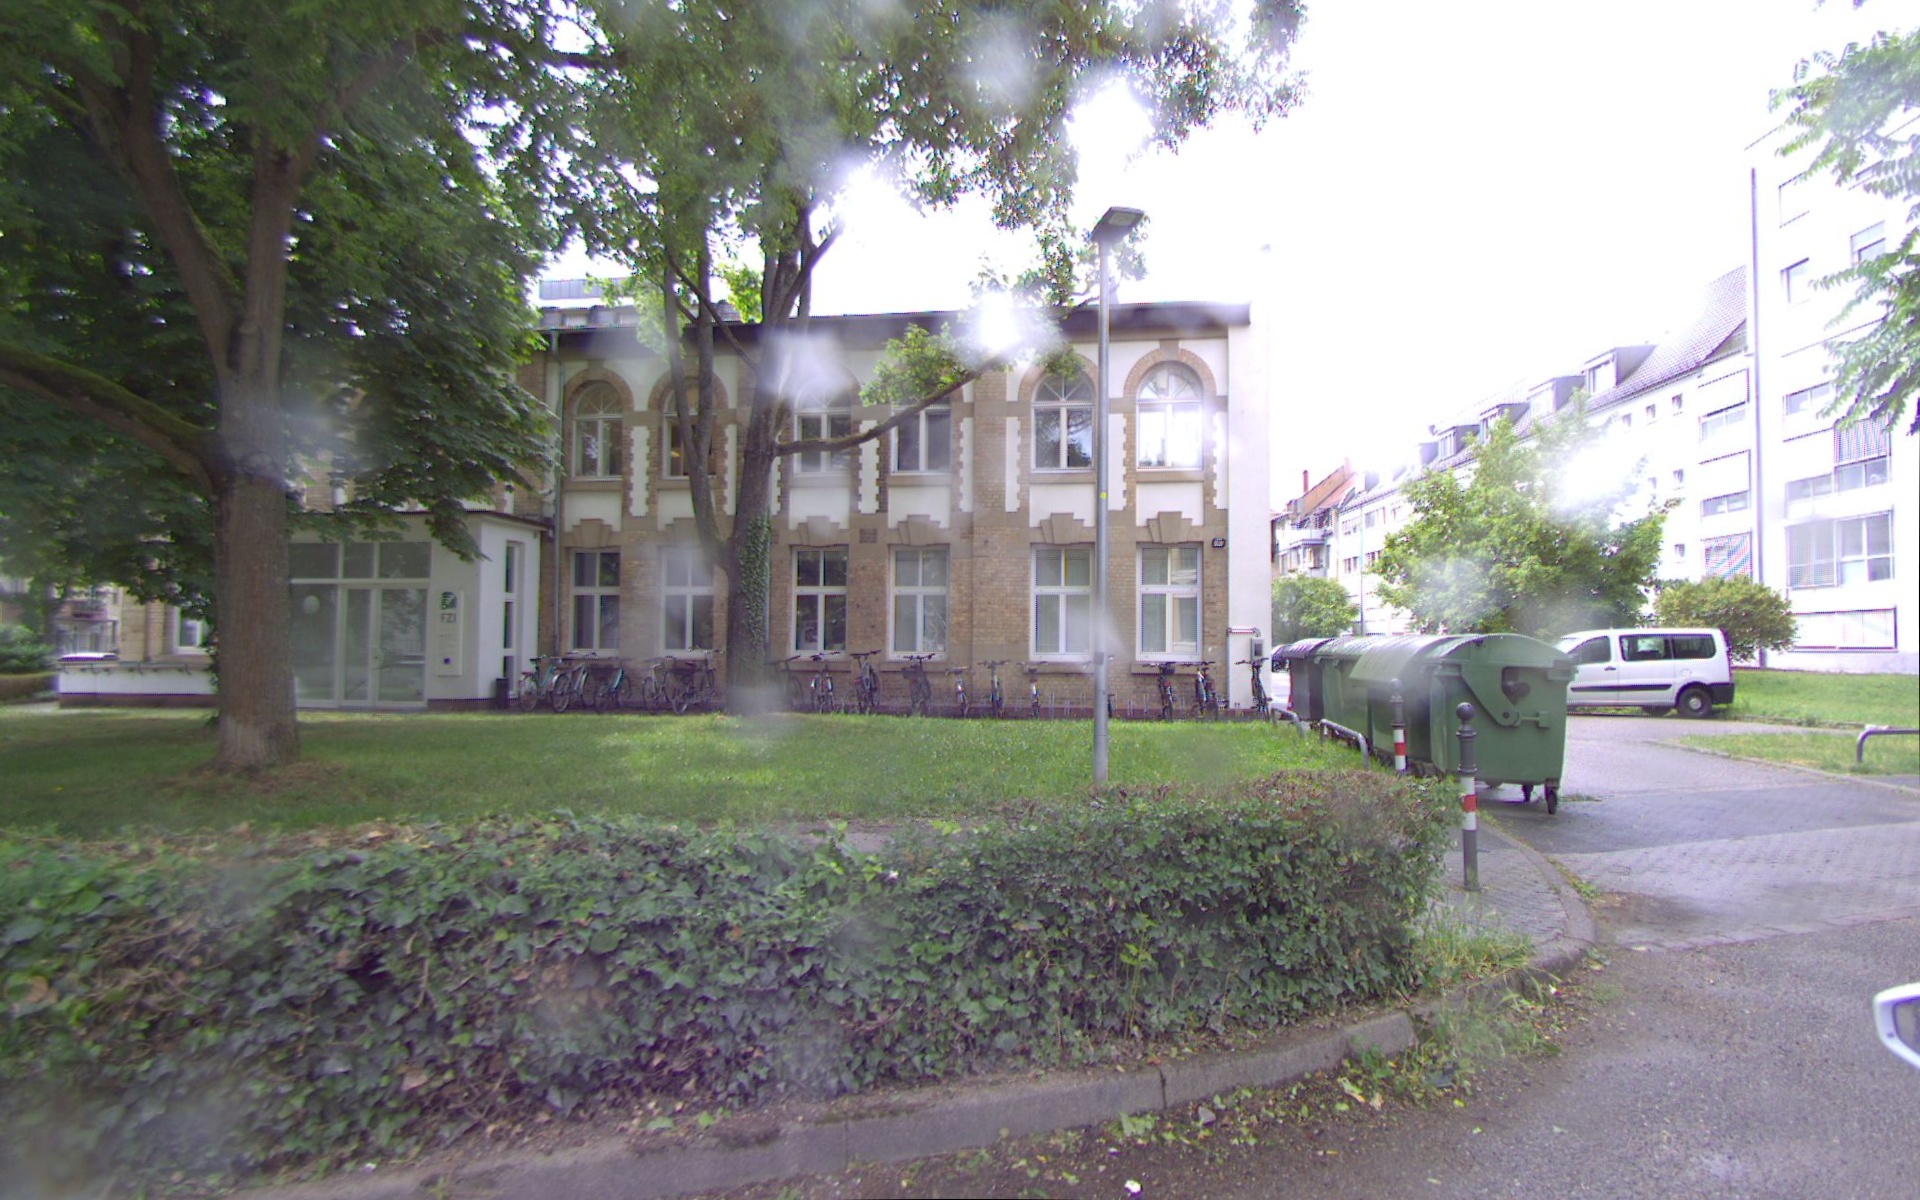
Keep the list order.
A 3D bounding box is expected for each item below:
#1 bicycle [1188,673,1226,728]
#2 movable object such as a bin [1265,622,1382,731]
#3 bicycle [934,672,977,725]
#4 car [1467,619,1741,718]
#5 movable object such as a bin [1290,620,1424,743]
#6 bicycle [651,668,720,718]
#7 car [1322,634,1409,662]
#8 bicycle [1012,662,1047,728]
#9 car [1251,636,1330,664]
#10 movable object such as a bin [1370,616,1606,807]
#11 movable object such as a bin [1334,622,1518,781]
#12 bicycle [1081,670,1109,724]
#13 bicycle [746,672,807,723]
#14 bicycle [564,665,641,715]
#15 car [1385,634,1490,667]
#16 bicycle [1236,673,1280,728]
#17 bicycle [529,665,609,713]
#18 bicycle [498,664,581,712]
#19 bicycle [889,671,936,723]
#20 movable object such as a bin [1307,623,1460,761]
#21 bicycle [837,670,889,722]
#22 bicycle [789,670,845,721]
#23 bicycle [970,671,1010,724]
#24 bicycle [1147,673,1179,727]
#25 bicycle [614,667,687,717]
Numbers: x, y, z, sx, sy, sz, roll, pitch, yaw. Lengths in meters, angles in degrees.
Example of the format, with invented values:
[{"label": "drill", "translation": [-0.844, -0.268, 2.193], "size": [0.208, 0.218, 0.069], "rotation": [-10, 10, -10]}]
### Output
[{"label": "bicycle", "translation": [4.339, 1.745, 17.741], "size": [0.444, 0.810, 2.058], "rotation": [2, -2, 9]}, {"label": "movable object such as a bin", "translation": [5.343, 1.094, 14.876], "size": [1.336, 1.490, 1.367], "rotation": [2, -1, 8]}, {"label": "bicycle", "translation": [-0.056, 1.768, 18.301], "size": [0.444, 0.810, 2.058], "rotation": [2, -2, 9]}, {"label": "car", "translation": [14.461, 1.523, 22.875], "size": [4.852, 2.040, 2.002], "rotation": [0, -3, 12]}, {"label": "movable object such as a bin", "translation": [5.198, 1.042, 13.269], "size": [1.336, 1.490, 1.367], "rotation": [2, -1, 8]}, {"label": "bicycle", "translation": [-5.158, 1.738, 19.002], "size": [0.444, 0.810, 2.058], "rotation": [2, -2, 9]}, {"label": "car", "translation": [22.062, 2.638, 54.775], "size": [4.028, 1.474, 1.834], "rotation": [-1, -3, 4]}, {"label": "bicycle", "translation": [1.274, 1.684, 18.144], "size": [0.444, 1.051, 2.058], "rotation": [1, -2, 9]}, {"label": "car", "translation": [22.401, 3.398, 68.211], "size": [4.631, 1.857, 2.112], "rotation": [-1, -3, 2]}, {"label": "movable object such as a bin", "translation": [4.581, 0.919, 8.905], "size": [1.385, 1.490, 1.562], "rotation": [2, -2, 8]}, {"label": "movable object such as a bin", "translation": [4.774, 0.998, 10.448], "size": [1.336, 1.490, 1.466], "rotation": [2, -2, 8]}, {"label": "bicycle", "translation": [2.418, 1.705, 17.904], "size": [0.444, 0.810, 2.058], "rotation": [2, -2, 9]}, {"label": "bicycle", "translation": [-3.402, 1.787, 18.766], "size": [0.444, 0.810, 2.058], "rotation": [2, -2, 9]}, {"label": "bicycle", "translation": [-6.801, 1.697, 19.215], "size": [0.444, 0.810, 2.058], "rotation": [2, -2, 9]}, {"label": "car", "translation": [21.767, 2.329, 45.946], "size": [3.919, 1.372, 1.793], "rotation": [-2, -3, 7]}, {"label": "bicycle", "translation": [5.183, 1.734, 17.558], "size": [0.444, 0.810, 2.058], "rotation": [2, -2, 9]}, {"label": "bicycle", "translation": [-7.480, 1.687, 19.322], "size": [0.444, 0.810, 2.058], "rotation": [2, -2, 9]}, {"label": "bicycle", "translation": [-8.097, 1.670, 19.422], "size": [0.444, 0.810, 2.058], "rotation": [2, -2, 9]}, {"label": "bicycle", "translation": [-0.843, 1.754, 18.458], "size": [0.444, 0.810, 2.058], "rotation": [2, -2, 9]}, {"label": "movable object such as a bin", "translation": [4.968, 1.044, 11.910], "size": [1.336, 1.490, 1.353], "rotation": [2, -1, 8]}, {"label": "bicycle", "translation": [-1.781, 1.756, 18.624], "size": [0.444, 0.810, 2.058], "rotation": [2, -2, 9]}, {"label": "bicycle", "translation": [-2.641, 1.764, 18.756], "size": [0.444, 0.810, 2.058], "rotation": [2, -2, 9]}, {"label": "bicycle", "translation": [0.567, 1.741, 18.229], "size": [0.444, 0.810, 2.058], "rotation": [2, -2, 9]}, {"label": "bicycle", "translation": [3.567, 1.737, 17.739], "size": [0.444, 0.810, 2.058], "rotation": [2, -2, 9]}, {"label": "bicycle", "translation": [-5.845, 1.724, 19.097], "size": [0.444, 0.810, 2.058], "rotation": [2, -2, 9]}]
